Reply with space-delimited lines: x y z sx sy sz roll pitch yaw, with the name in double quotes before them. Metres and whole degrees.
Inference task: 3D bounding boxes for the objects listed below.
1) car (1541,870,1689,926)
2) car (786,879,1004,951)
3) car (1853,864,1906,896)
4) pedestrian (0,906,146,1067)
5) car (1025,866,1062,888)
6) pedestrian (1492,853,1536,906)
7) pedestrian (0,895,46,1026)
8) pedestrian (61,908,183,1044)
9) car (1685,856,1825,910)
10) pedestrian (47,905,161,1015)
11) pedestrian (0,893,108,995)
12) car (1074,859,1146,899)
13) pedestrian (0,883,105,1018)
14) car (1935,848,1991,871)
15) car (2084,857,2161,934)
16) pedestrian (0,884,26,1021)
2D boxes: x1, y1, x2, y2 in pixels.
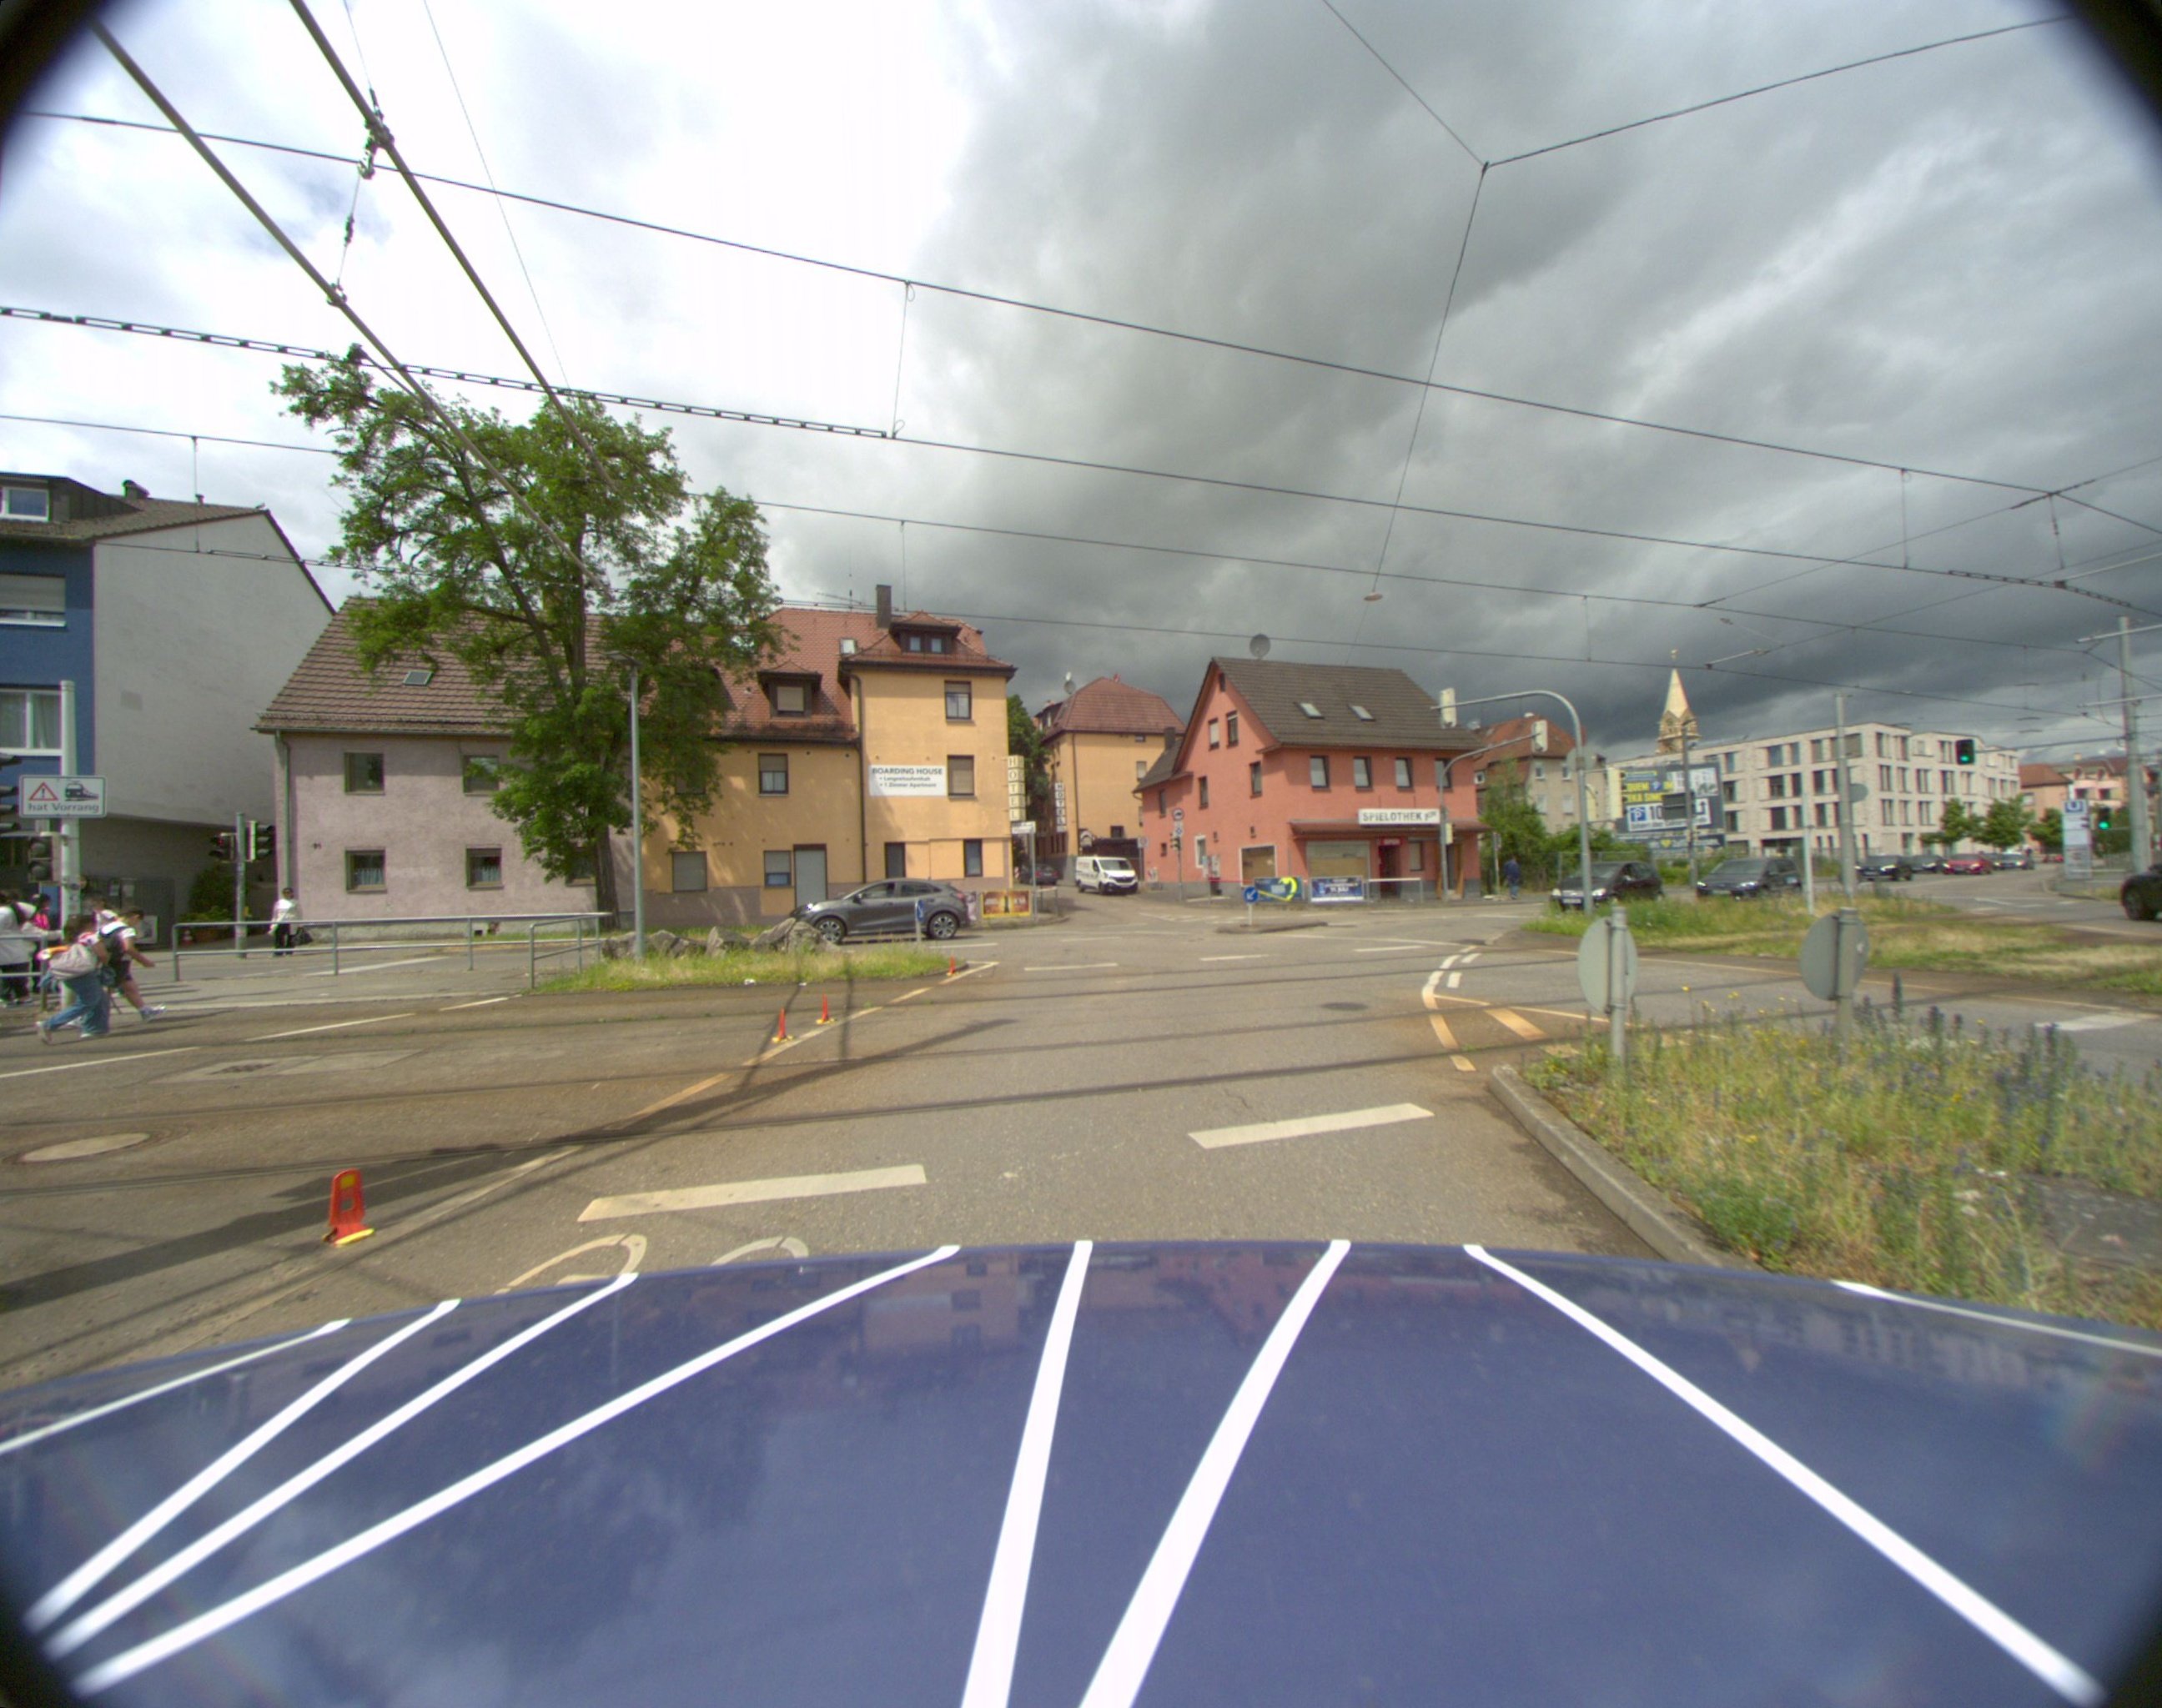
"car" 16.082 1.297 22.885 4.005 1.420 1.880 -2 -2 -26
"car" -4.510 1.425 18.464 4.860 1.362 1.917 -2 -2 -20
"car" 46.881 1.515 44.579 4.008 1.661 1.995 -1 -2 -43
"pedestrian" -10.041 1.271 7.558 0.540 1.461 0.781 -1 0 20
"car" -2.532 1.558 50.539 1.563 1.362 3.128 -2 -2 -20
"pedestrian" 18.065 1.045 31.710 1.129 2.135 1.051 -1 0 -16
"pedestrian" -13.387 1.301 9.271 0.675 1.556 0.587 -1 0 -2
"pedestrian" -10.603 1.309 8.414 0.586 1.392 0.676 -2 0 21
"car" 23.824 1.012 26.870 4.425 1.639 1.997 -2 -2 -24
"pedestrian" -12.952 1.387 10.089 0.779 1.366 0.587 -2 -2 2
"pedestrian" -14.735 1.267 10.903 0.675 1.367 0.634 -1 0 -11
"car" 1.464 1.291 40.168 2.083 1.886 4.655 -3 0 -21
"pedestrian" -13.965 1.284 10.293 0.675 1.739 0.587 -1 0 -9
"car" 64.268 0.394 55.367 4.006 1.449 1.996 -2 -2 -32
"car" 22.890 0.857 14.936 1.949 1.560 4.496 1 0 25
"pedestrian" -14.107 1.266 9.595 0.675 1.739 0.587 -1 0 -9
